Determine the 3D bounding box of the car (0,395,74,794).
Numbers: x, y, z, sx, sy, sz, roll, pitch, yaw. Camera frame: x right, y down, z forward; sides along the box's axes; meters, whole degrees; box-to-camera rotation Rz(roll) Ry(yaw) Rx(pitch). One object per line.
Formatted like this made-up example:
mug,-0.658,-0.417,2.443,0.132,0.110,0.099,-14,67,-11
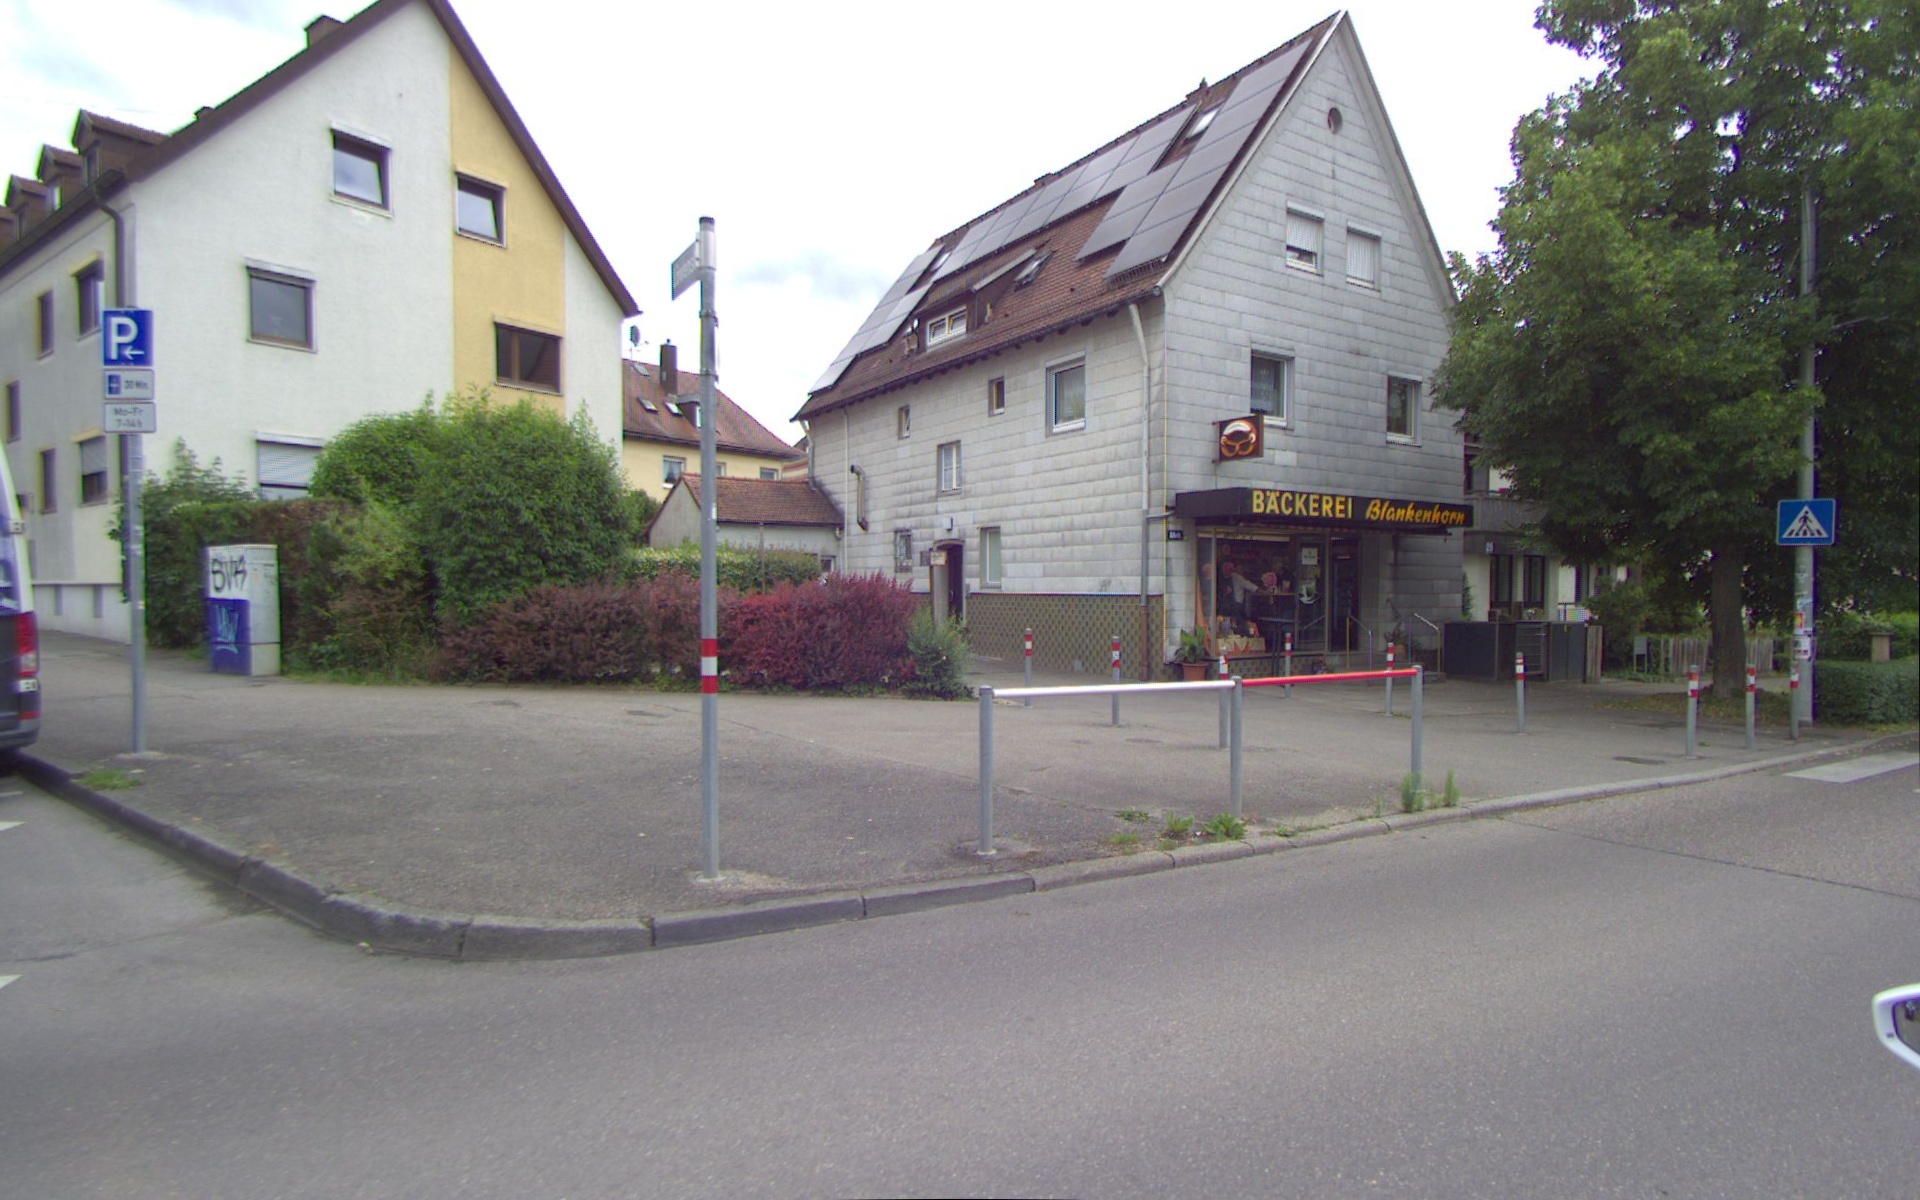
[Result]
car,-9.347,-0.132,7.868,6.866,2.556,2.077,3,3,36
